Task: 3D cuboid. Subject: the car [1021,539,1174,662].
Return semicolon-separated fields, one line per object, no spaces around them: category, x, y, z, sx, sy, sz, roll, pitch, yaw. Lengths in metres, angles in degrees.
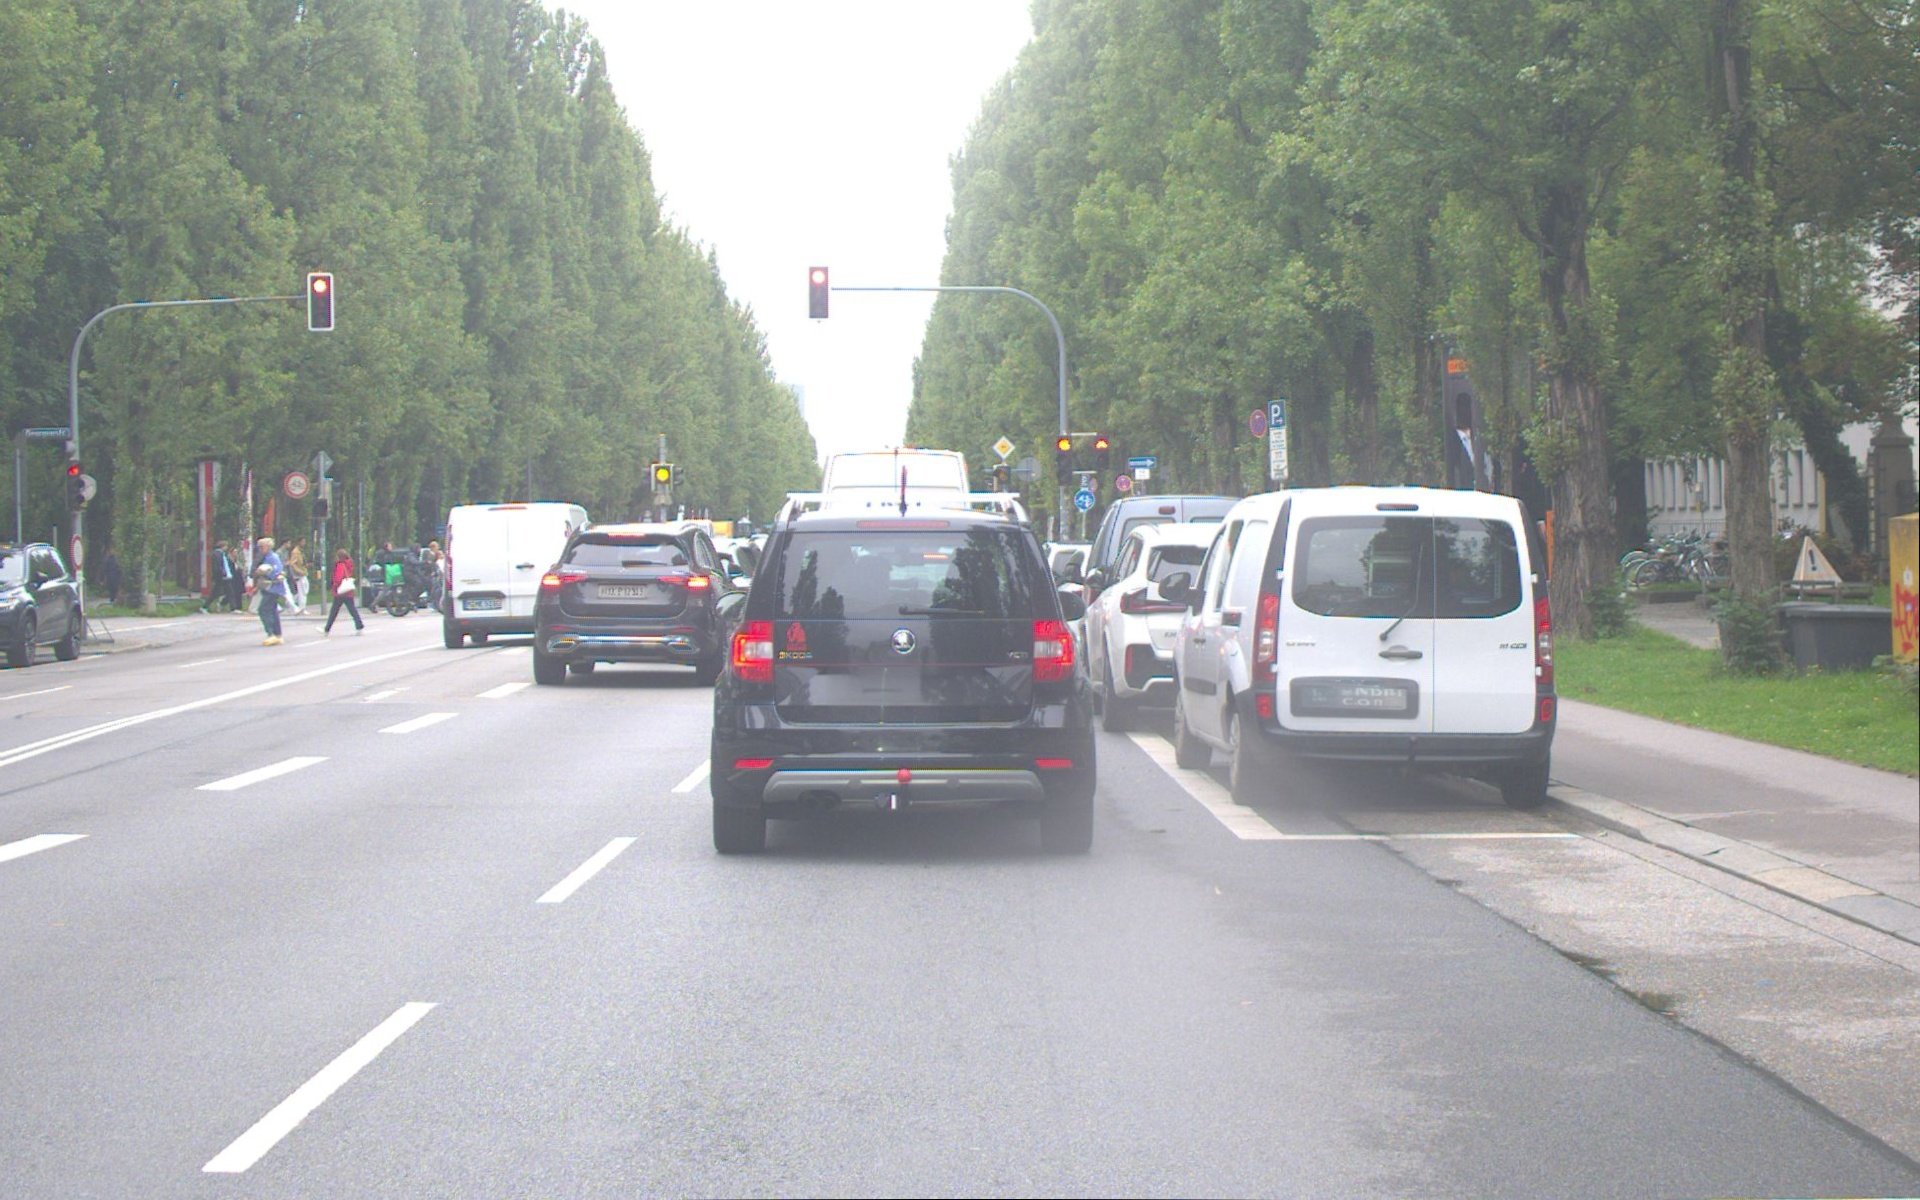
car;1.730;-0.029;44.283;1.735;1.470;3.563;-1;1;-1

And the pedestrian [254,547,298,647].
pedestrian;-10.914;-0.057;54.868;0.528;1.572;0.662;-1;1;0

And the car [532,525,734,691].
car;-3.338;0.031;35.704;1.781;1.614;4.025;0;1;-1

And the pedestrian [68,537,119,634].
pedestrian;-14.184;-0.243;56.300;0.660;1.572;0.530;-1;1;0

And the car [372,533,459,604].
car;-14.231;-0.840;90.027;1.688;1.776;3.775;-1;1;-1

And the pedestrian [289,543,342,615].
pedestrian;-15.151;-0.500;80.773;0.880;1.649;0.878;-2;1;-38

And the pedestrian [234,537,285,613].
pedestrian;-16.446;-0.583;80.760;0.880;1.758;0.878;-1;1;9

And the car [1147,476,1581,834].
car;2.273;0.241;20.416;1.851;1.875;4.169;-1;1;-3

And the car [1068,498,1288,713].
car;2.006;0.000;32.646;1.735;1.888;4.025;-1;1;-1

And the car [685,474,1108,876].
car;-0.312;0.297;17.357;1.855;1.764;4.000;1;1;-1

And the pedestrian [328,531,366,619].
pedestrian;-10.449;-0.436;58.607;0.517;1.480;0.536;-1;1;0

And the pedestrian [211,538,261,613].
pedestrian;-17.228;-0.577;81.832;0.880;1.758;0.878;-1;1;9

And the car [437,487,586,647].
car;-6.218;-0.478;47.989;1.781;2.104;4.025;-1;1;-4

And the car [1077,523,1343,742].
car;1.927;0.198;27.633;1.741;1.587;4.212;-1;1;-1

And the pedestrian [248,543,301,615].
pedestrian;-15.908;-0.488;79.765;0.880;1.649;0.878;-2;1;-38

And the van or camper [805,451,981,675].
van or camper;-0.856;-0.469;41.493;1.975;2.539;4.025;-1;1;-3

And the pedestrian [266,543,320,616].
pedestrian;-15.341;-0.480;79.057;0.880;1.649;0.878;-2;1;-38

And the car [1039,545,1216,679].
car;1.845;0.103;38.779;1.735;1.382;3.563;-1;1;-1

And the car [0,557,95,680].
car;-13.907;0.266;49.580;1.849;1.648;4.697;-3;1;-3
